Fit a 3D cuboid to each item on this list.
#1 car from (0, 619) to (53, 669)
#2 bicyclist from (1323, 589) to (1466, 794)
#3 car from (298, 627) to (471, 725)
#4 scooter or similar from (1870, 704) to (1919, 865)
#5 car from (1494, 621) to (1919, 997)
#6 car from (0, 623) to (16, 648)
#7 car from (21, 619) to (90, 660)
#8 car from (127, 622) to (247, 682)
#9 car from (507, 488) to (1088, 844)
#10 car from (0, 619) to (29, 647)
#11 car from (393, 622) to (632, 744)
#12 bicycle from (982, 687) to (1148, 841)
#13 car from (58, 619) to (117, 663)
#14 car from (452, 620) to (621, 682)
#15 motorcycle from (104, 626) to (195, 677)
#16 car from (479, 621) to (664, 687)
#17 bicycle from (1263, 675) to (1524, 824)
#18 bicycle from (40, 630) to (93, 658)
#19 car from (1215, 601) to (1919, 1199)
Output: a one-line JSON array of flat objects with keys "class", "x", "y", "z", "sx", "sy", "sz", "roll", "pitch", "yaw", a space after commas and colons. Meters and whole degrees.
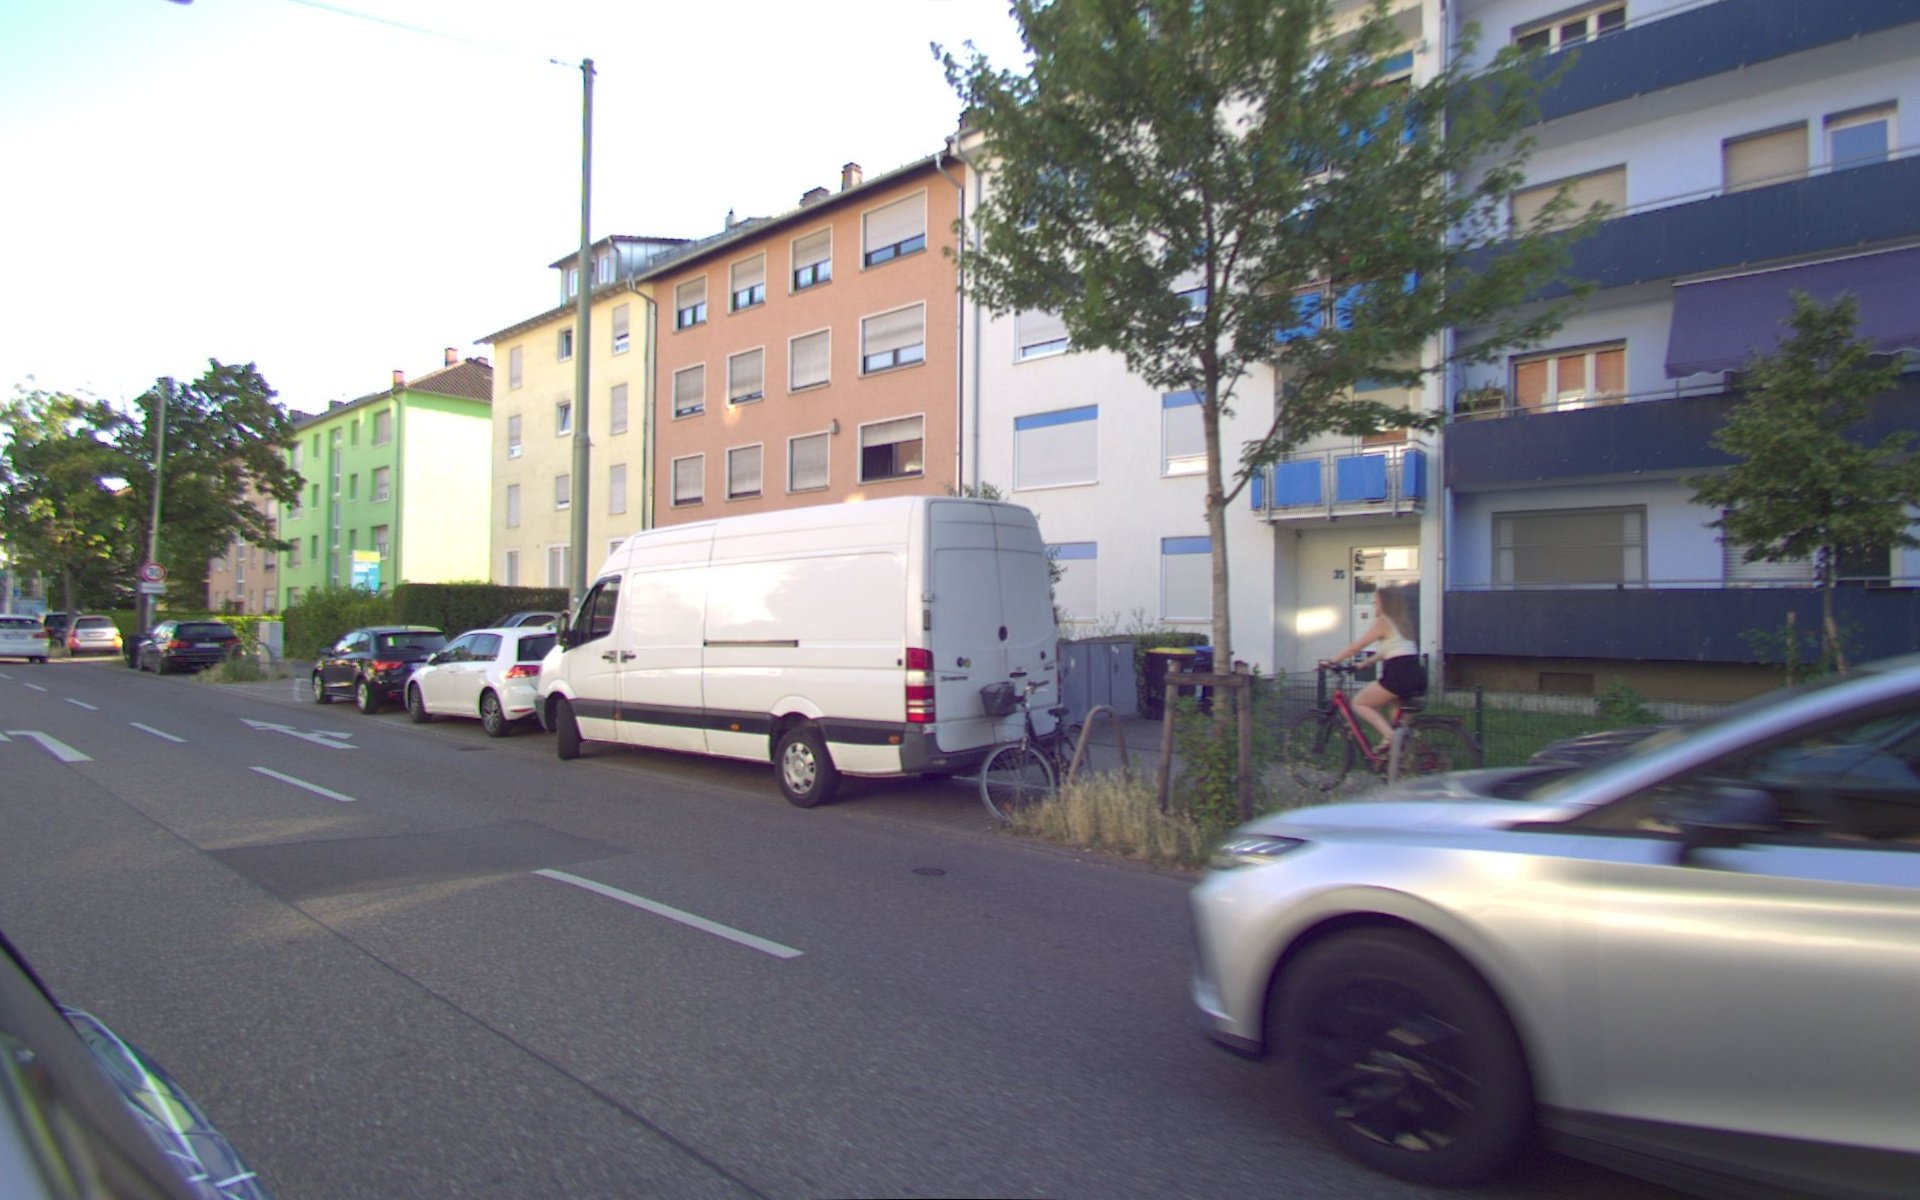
[{"class": "car", "x": -31.437, "y": 1.426, "z": 33.200, "sx": 4.263, "sy": 1.555, "sz": 1.860, "roll": -1, "pitch": -3, "yaw": 40}, {"class": "bicyclist", "x": 3.633, "y": 0.731, "z": 8.495, "sx": 0.596, "sy": 1.605, "sz": 0.941, "roll": 2, "pitch": -3, "yaw": -41}, {"class": "car", "x": -10.253, "y": 1.255, "z": 17.916, "sx": 3.813, "sy": 1.484, "sz": 1.594, "roll": -1, "pitch": 0, "yaw": 43}, {"class": "scooter or similar", "x": 6.889, "y": 1.233, "z": 6.445, "sx": 0.458, "sy": 1.022, "sz": 1.590, "roll": 3, "pitch": -3, "yaw": -44}, {"class": "car", "x": 4.993, "y": 0.876, "z": 4.378, "sx": 4.473, "sy": 1.555, "sz": 1.654, "roll": -1, "pitch": -2, "yaw": 43}, {"class": "car", "x": -58.691, "y": 2.123, "z": 61.469, "sx": 3.943, "sy": 1.490, "sz": 1.635, "roll": -1, "pitch": -2, "yaw": 43}, {"class": "car", "x": -40.375, "y": 1.721, "z": 45.136, "sx": 4.616, "sy": 1.746, "sz": 1.764, "roll": -1, "pitch": -2, "yaw": 42}, {"class": "car", "x": -21.263, "y": 1.370, "z": 27.777, "sx": 4.586, "sy": 1.516, "sz": 1.760, "roll": -1, "pitch": -2, "yaw": 41}, {"class": "car", "x": -2.170, "y": 0.538, "z": 10.613, "sx": 7.102, "sy": 2.636, "sz": 1.972, "roll": -1, "pitch": -1, "yaw": 42}, {"class": "car", "x": -55.108, "y": 1.903, "z": 58.310, "sx": 3.782, "sy": 1.564, "sz": 1.621, "roll": -1, "pitch": -2, "yaw": 39}, {"class": "car", "x": -6.709, "y": 1.112, "z": 14.980, "sx": 4.057, "sy": 1.503, "sz": 1.689, "roll": -1, "pitch": 0, "yaw": 42}, {"class": "bicycle", "x": 0.861, "y": 1.255, "z": 8.038, "sx": 1.454, "sy": 1.022, "sz": 0.440, "roll": 0, "pitch": -1, "yaw": -41}, {"class": "car", "x": -33.918, "y": 1.573, "z": 39.311, "sx": 2.862, "sy": 1.629, "sz": 1.482, "roll": -1, "pitch": -2, "yaw": 45}, {"class": "car", "x": -11.394, "y": 1.317, "z": 27.428, "sx": 1.629, "sy": 1.540, "sz": 3.945, "roll": -1, "pitch": -1, "yaw": 41}, {"class": "motorcycle", "x": -24.428, "y": 1.517, "z": 30.541, "sx": 0.980, "sy": 1.399, "sz": 2.022, "roll": 0, "pitch": 1, "yaw": 9}, {"class": "car", "x": -9.770, "y": 1.305, "z": 25.657, "sx": 1.915, "sy": 1.423, "sz": 3.945, "roll": -1, "pitch": 0, "yaw": 41}, {"class": "bicycle", "x": 3.582, "y": 1.191, "z": 8.526, "sx": 0.613, "sy": 1.022, "sz": 1.955, "roll": 2, "pitch": -3, "yaw": -41}, {"class": "bicycle", "x": -37.822, "y": 1.846, "z": 42.861, "sx": 0.560, "sy": 1.097, "sz": 1.656, "roll": -1, "pitch": -1, "yaw": 43}, {"class": "car", "x": 2.837, "y": 0.821, "z": 2.366, "sx": 3.968, "sy": 1.506, "sz": 1.763, "roll": -1, "pitch": -5, "yaw": 40}]
